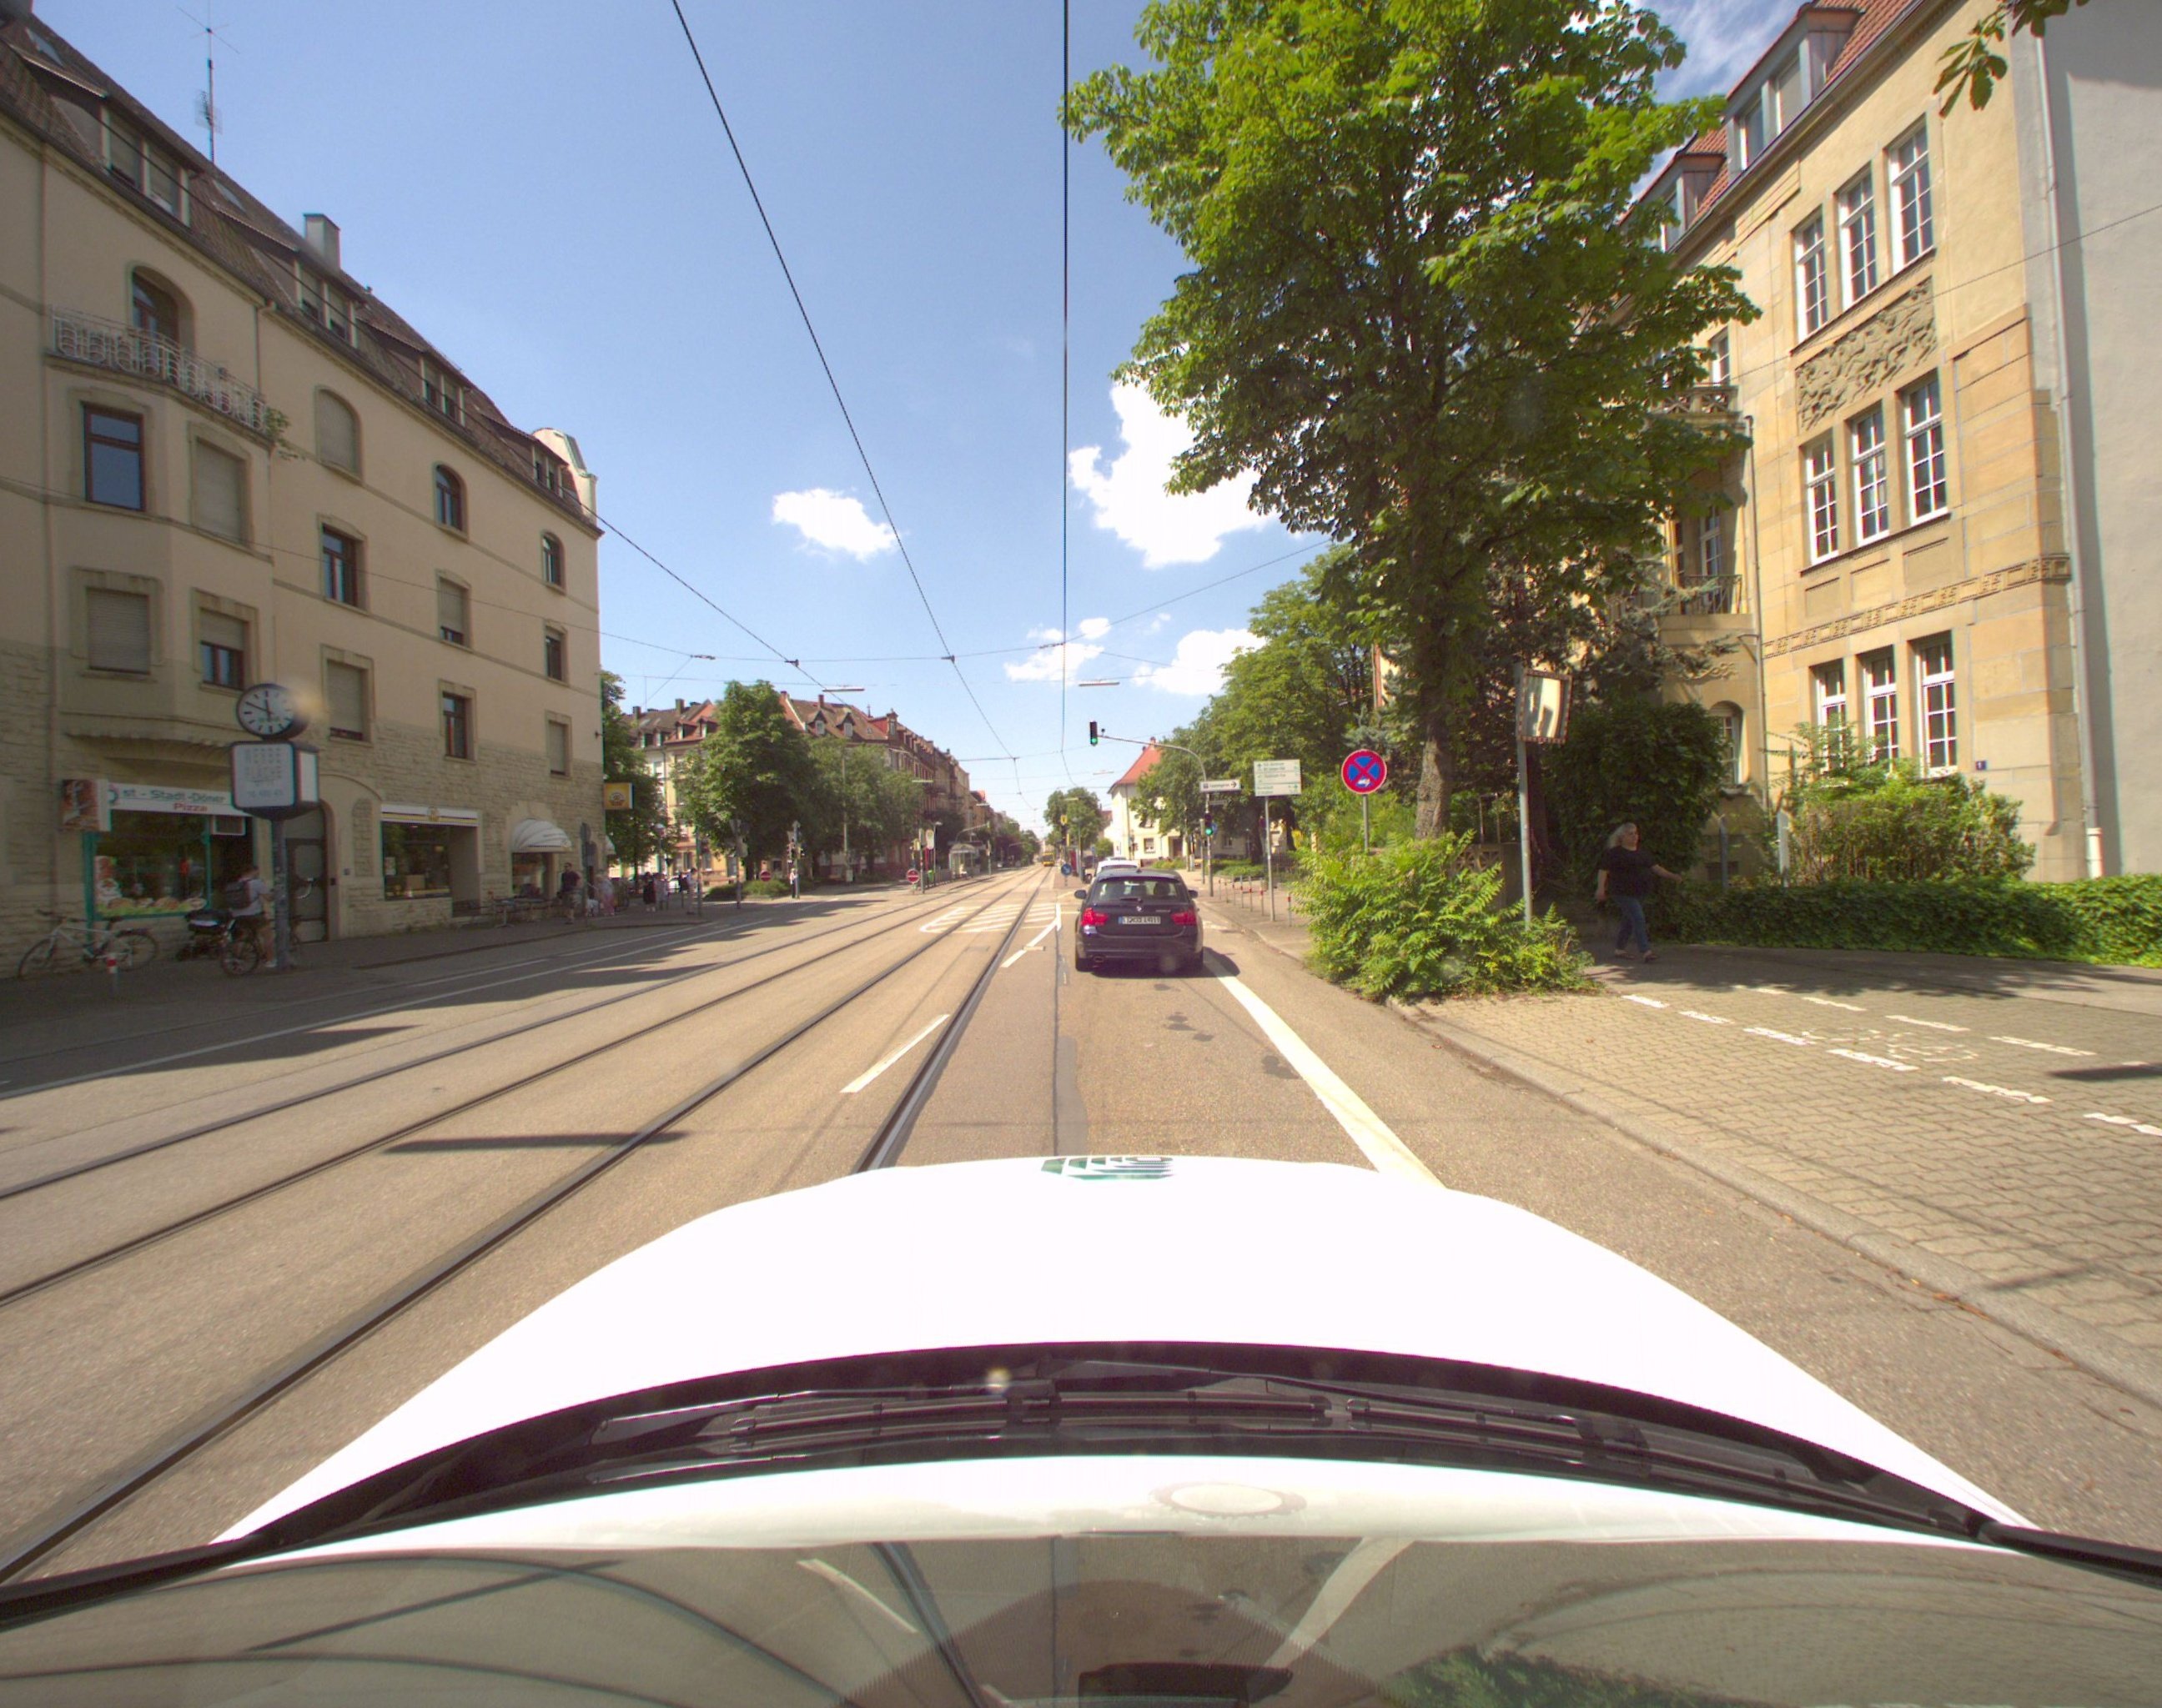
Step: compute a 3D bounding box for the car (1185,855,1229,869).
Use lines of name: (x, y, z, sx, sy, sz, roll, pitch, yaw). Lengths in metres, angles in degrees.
car: (12.673, 0.791, 81.980, 3.948, 1.243, 1.634, -3, 0, 33)

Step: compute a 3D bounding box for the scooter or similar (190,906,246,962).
scooter or similar: (-17.805, 1.631, 16.830, 0.700, 1.044, 1.195, 0, -1, -42)

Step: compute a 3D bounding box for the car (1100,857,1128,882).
car: (2.120, 0.987, 52.652, 1.685, 1.514, 3.822, -2, 0, 1)

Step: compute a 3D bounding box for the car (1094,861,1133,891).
car: (1.538, 1.020, 39.666, 1.686, 1.323, 3.819, -2, 0, -1)

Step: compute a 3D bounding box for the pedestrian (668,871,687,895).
pedestrian: (-33.129, 2.378, 66.881, 0.994, 1.868, 1.020, -2, -1, 8)

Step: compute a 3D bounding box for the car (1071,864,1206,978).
car: (0.875, 0.882, 12.651, 1.715, 1.409, 4.569, 0, 0, 3)

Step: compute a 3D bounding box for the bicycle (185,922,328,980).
bicycle: (-14.666, 1.698, 14.567, 0.750, 0.818, 1.818, -1, 0, -3)

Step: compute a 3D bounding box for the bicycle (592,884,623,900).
bicycle: (-34.086, 2.713, 58.636, 1.858, 1.032, 0.540, -2, -1, -25)

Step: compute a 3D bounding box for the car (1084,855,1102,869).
car: (1.672, 1.128, 115.331, 1.991, 1.849, 3.992, -2, 0, -5)

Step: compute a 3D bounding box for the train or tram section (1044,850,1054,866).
train or tram section: (-7.327, 0.961, 187.679, 2.185, 3.482, 8.838, -2, 0, -2)

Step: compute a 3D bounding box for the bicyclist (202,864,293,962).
bicyclist: (-14.702, 1.015, 14.390, 0.755, 1.663, 0.828, -1, -1, -9)

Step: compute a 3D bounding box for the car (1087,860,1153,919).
car: (1.098, 0.949, 23.413, 1.678, 1.484, 3.686, -2, 0, 2)

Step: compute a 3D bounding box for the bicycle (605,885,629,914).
bicycle: (-18.804, 1.855, 33.004, 0.547, 1.128, 1.663, -2, -3, -39)

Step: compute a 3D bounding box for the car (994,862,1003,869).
car: (-19.240, 2.644, 189.372, 1.788, 1.586, 3.986, -1, -1, -10)

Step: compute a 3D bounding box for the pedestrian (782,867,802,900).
pedestrian: (-16.058, 1.635, 45.282, 0.843, 1.723, 0.910, -2, -1, -32)

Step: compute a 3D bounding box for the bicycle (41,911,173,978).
bicycle: (-17.527, 1.602, 14.695, 0.366, 1.066, 1.472, -2, -2, 22)

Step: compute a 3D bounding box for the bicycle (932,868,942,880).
bicycle: (-14.333, 1.975, 81.263, 0.727, 1.101, 1.713, -2, 0, -3)

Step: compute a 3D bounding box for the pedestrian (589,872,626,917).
pedestrian: (-17.557, 1.507, 30.229, 0.805, 1.595, 0.918, -2, -1, -3)

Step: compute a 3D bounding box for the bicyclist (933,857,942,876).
bicyclist: (-14.353, 1.235, 81.253, 0.721, 1.870, 0.825, -2, -1, -2)

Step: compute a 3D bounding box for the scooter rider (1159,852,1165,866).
scooter rider: (9.348, 0.584, 94.183, 0.590, 1.687, 0.527, -2, -1, -7)

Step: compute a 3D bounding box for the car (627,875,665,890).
car: (-45.706, 2.988, 85.491, 3.429, 1.471, 1.694, -3, -1, 23)

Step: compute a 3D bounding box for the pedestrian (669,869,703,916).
pedestrian: (-14.776, 1.426, 30.486, 0.857, 1.732, 0.775, -1, -1, 0)

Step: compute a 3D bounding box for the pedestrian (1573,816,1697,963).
pedestrian: (6.596, 0.410, 9.743, 0.853, 1.645, 0.837, -3, -1, 3)

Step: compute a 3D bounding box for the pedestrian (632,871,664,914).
pedestrian: (-17.414, 1.540, 32.769, 0.868, 1.635, 1.014, -2, -1, -43)

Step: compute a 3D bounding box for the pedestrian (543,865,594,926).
pedestrian: (-16.348, 1.312, 25.995, 0.898, 1.891, 1.163, -1, -1, -3)

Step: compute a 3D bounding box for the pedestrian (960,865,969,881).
pedestrian: (-9.312, 1.500, 65.156, 0.613, 1.243, 0.626, -2, -1, -8)

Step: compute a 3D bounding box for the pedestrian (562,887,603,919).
pedestrian: (-18.110, 1.757, 29.582, 0.913, 1.077, 0.882, -2, -1, -1)

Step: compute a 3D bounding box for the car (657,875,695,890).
car: (-41.927, 2.962, 84.352, 3.429, 1.471, 1.694, -3, -1, 23)
